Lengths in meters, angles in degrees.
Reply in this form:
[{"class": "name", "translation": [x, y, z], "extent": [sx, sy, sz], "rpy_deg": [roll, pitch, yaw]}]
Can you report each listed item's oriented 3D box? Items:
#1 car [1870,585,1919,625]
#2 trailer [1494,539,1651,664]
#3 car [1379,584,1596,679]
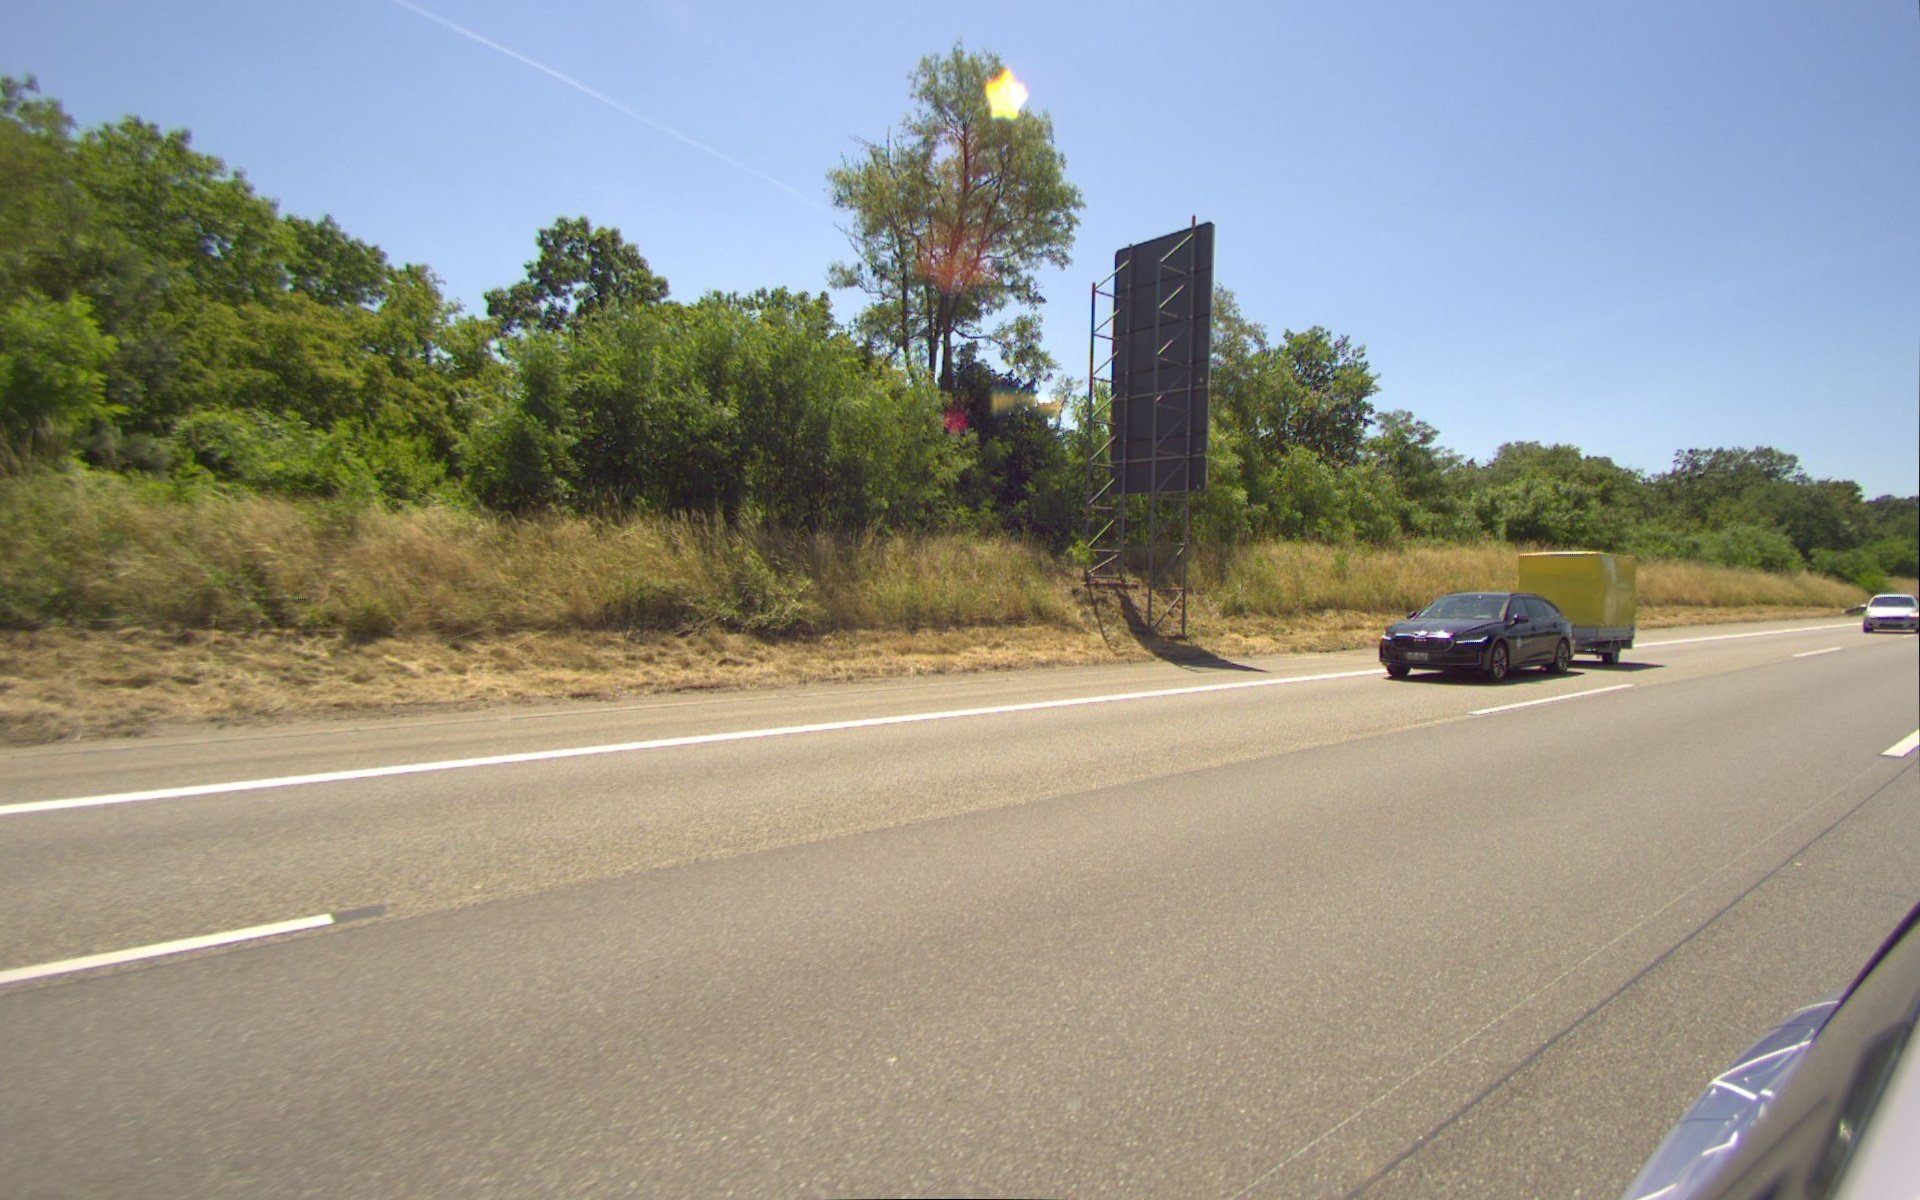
[{"class": "car", "translation": [36.324, 0.165, 38.671], "extent": [3.909, 1.484, 1.749], "rpy_deg": [0, 0, -40]}, {"class": "trailer", "translation": [12.554, 0.001, 20.669], "extent": [3.773, 2.318, 1.706], "rpy_deg": [0, 1, -41]}, {"class": "car", "translation": [9.376, 0.456, 17.813], "extent": [4.705, 1.474, 1.824], "rpy_deg": [-1, 1, -41]}]
